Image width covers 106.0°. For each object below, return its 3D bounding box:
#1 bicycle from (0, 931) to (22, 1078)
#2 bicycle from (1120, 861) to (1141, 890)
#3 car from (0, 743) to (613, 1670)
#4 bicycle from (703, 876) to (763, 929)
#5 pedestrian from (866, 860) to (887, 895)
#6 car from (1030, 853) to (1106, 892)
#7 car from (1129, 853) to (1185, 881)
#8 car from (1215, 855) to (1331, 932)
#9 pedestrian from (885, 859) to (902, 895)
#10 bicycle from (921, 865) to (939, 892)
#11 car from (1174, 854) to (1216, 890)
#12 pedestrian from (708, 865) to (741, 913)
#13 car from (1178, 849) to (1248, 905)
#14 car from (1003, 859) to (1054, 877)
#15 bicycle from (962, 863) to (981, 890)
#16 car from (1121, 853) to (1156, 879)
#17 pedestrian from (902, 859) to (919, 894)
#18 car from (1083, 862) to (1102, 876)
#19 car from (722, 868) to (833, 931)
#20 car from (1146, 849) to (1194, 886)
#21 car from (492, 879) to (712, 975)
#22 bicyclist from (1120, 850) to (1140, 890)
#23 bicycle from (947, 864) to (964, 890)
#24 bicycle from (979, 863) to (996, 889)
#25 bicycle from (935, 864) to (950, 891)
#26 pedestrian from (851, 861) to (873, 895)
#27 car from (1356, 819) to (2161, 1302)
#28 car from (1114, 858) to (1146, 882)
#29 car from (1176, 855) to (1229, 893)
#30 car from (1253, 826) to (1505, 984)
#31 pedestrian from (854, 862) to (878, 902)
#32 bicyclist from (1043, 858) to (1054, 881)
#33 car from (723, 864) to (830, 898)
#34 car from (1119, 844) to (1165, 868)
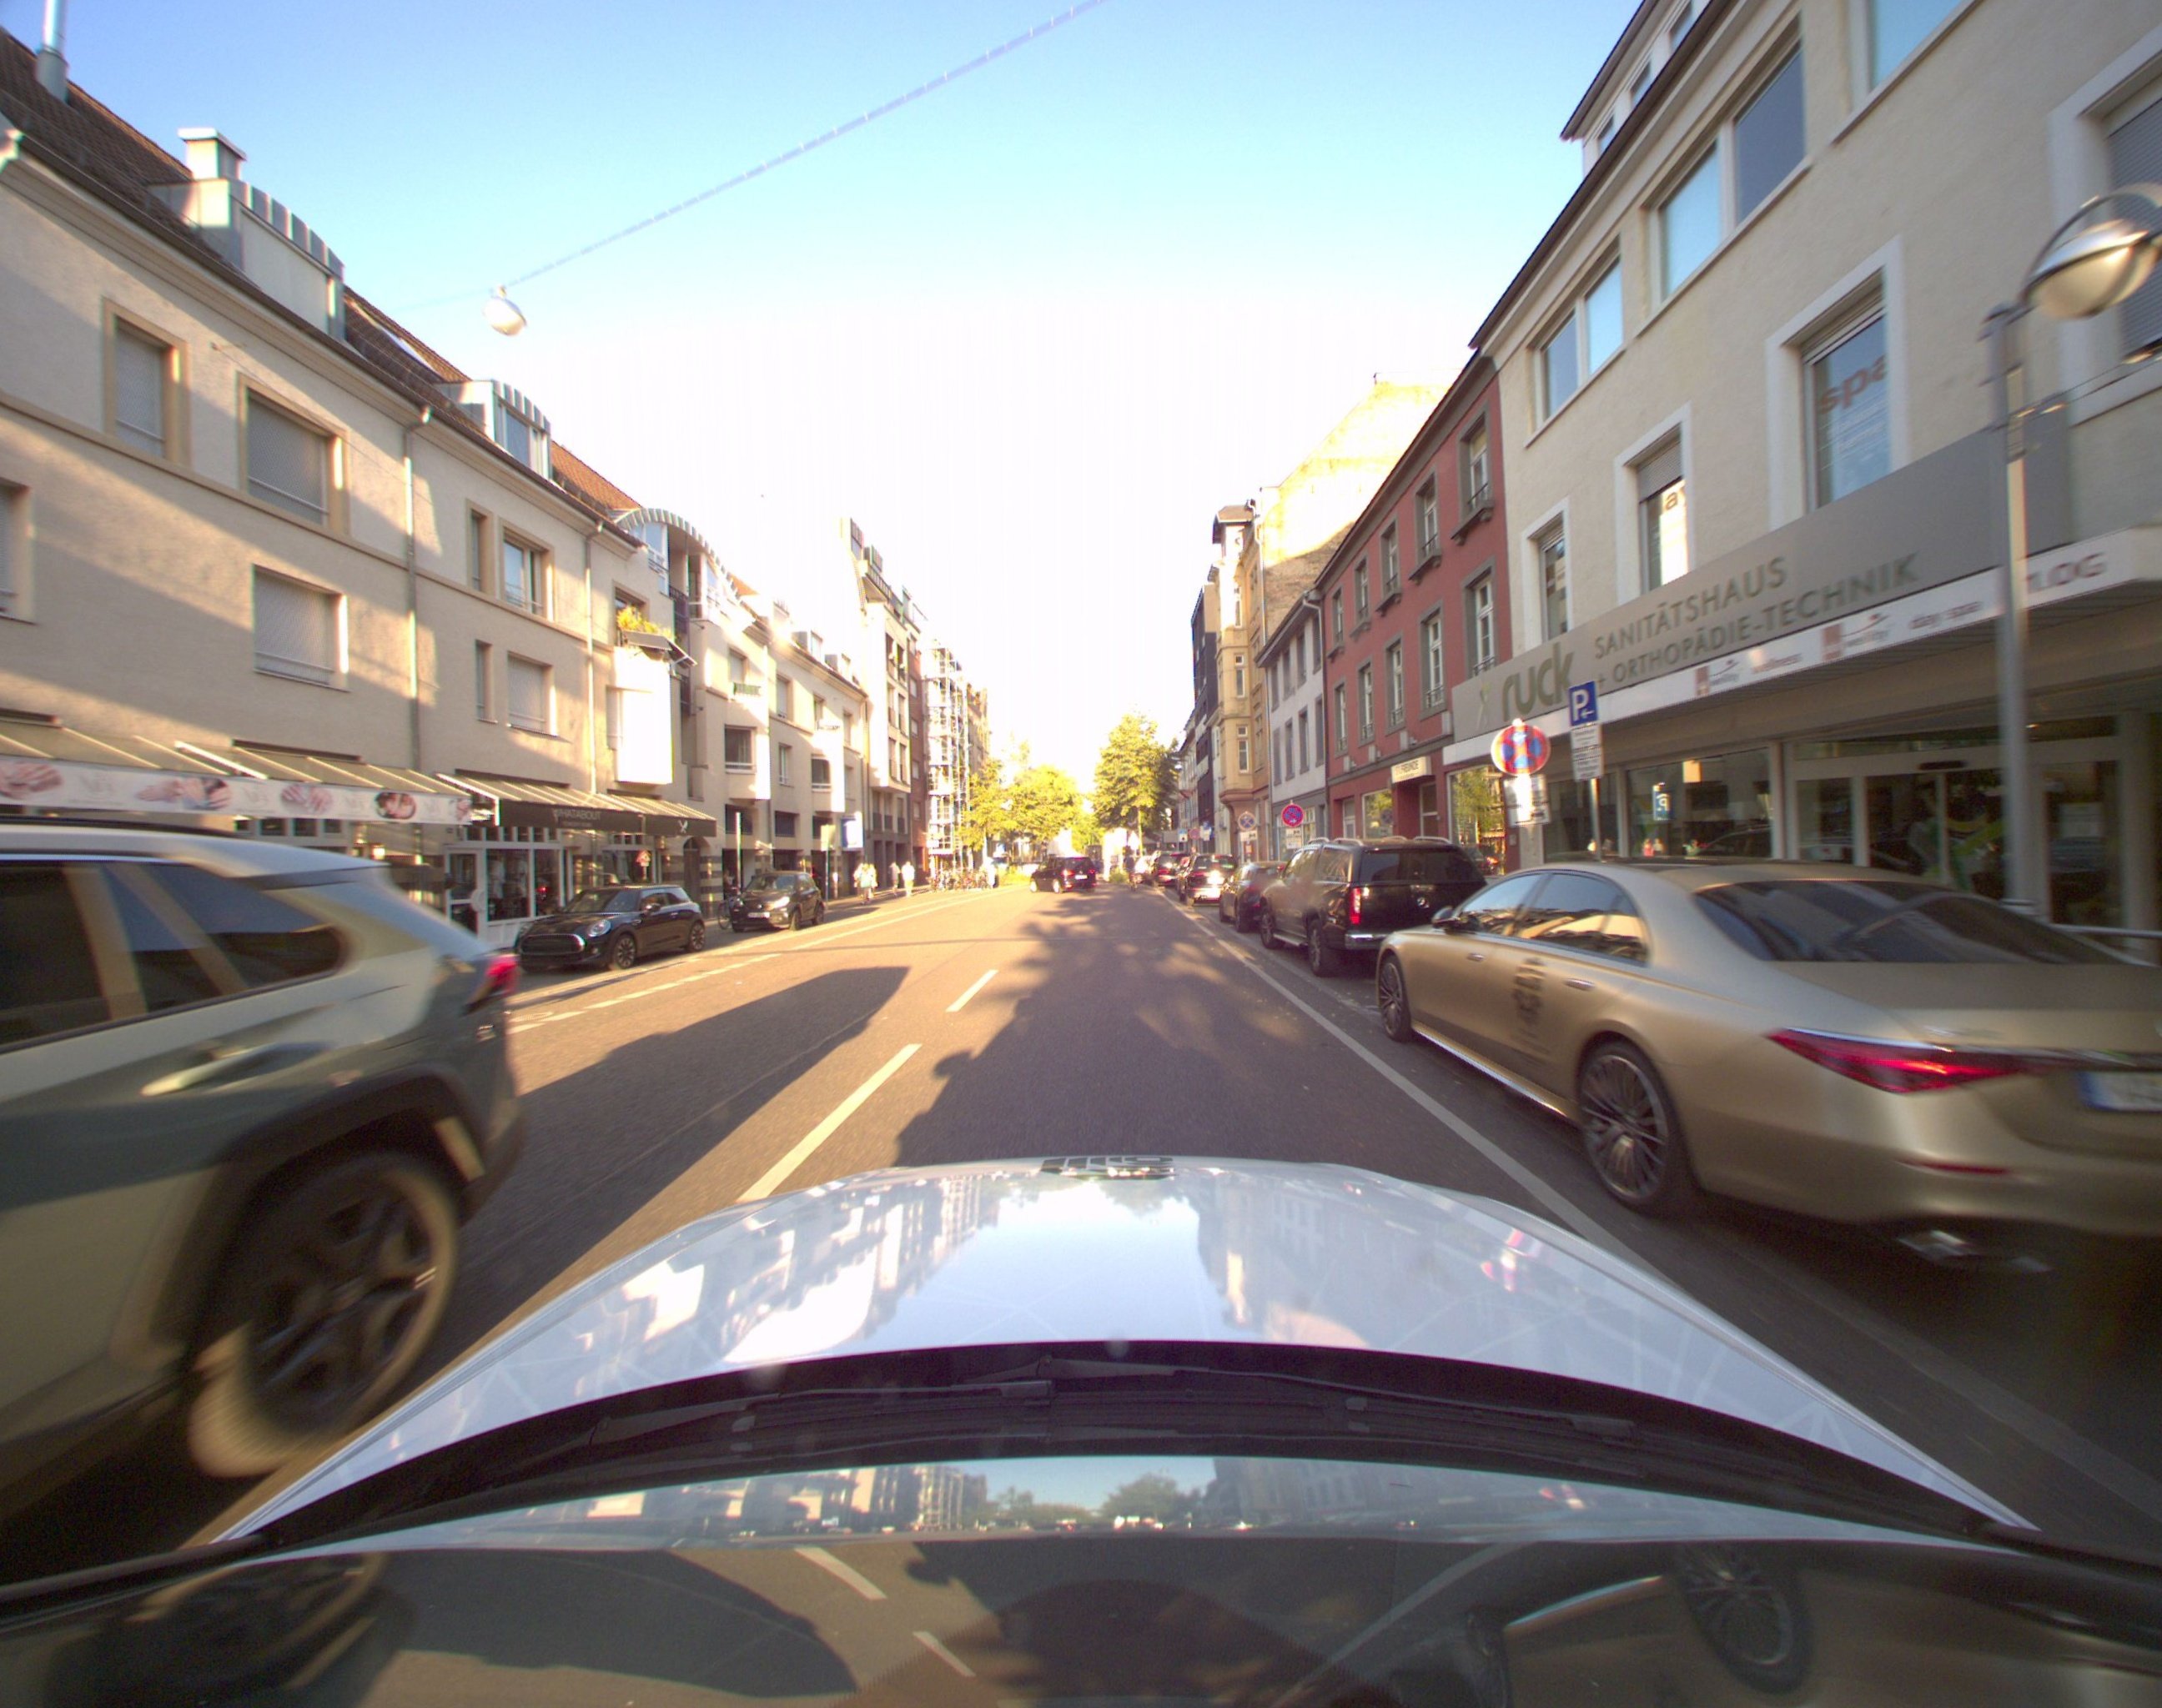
[{"bbox_3d":[-10.179,1.344,5.871,0.955,1.300,3.127,-1,-1,0],"label":"bicycle"},{"bbox_3d":[2.191,0.930,36.239,0.778,1.204,2.020,-3,-1,0],"label":"bicycle"},{"bbox_3d":[-2.916,0.657,0.922,1.934,1.645,4.738,-3,-1,0],"label":"car"},{"bbox_3d":[-9.709,1.320,22.824,0.608,1.375,2.359,-1,-1,2],"label":"bicycle"},{"bbox_3d":[-9.692,1.126,38.676,0.713,1.641,0.857,-1,-1,6],"label":"pedestrian"},{"bbox_3d":[-0.665,0.797,36.184,2.000,1.601,4.478,0,-1,-20],"label":"car"},{"bbox_3d":[4.235,0.729,45.727,2.961,1.536,1.432,-1,-1,-2],"label":"car"},{"bbox_3d":[4.095,0.791,18.062,1.755,1.483,4.310,-1,-1,3],"label":"car"},{"bbox_3d":[-9.174,1.115,39.936,0.716,1.767,0.693,0,-1,-6],"label":"pedestrian"},{"bbox_3d":[-8.225,1.322,44.469,0.720,1.395,3.146,0,-1,-6],"label":"bicycle"},{"bbox_3d":[4.924,0.782,35.484,1.580,1.483,3.270,-1,-1,4],"label":"car"},{"bbox_3d":[-12.409,1.204,28.370,0.713,1.616,0.856,-1,-1,4],"label":"pedestrian"},{"bbox_3d":[4.204,0.715,26.570,1.804,1.668,4.208,-1,-1,3],"label":"car"},{"bbox_3d":[-4.412,1.222,69.316,4.085,1.466,1.891,-1,-1,3],"label":"car"},{"bbox_3d":[-6.008,1.231,44.770,0.892,1.395,3.159,-1,-1,-6],"label":"bicycle"},{"bbox_3d":[3.790,0.814,54.693,1.987,1.668,4.507,-1,-1,-1],"label":"car"},{"bbox_3d":[-8.444,1.119,40.377,0.716,1.740,0.737,0,-1,-6],"label":"pedestrian"},{"bbox_3d":[1.291,1.632,87.873,1.830,1.441,4.335,0,-1,3],"label":"car"},{"bbox_3d":[-8.076,1.179,21.976,1.786,1.535,3.188,-2,-1,-1],"label":"car"},{"bbox_3d":[4.317,0.659,40.158,1.819,1.695,4.367,-1,-1,-1],"label":"car"},{"bbox_3d":[-8.531,1.227,14.930,1.704,1.454,3.727,-1,-1,2],"label":"car"},{"bbox_3d":[2.163,0.700,36.086,0.778,1.696,1.007,-3,-1,0],"label":"bicyclist"},{"bbox_3d":[-6.859,1.254,44.656,0.780,1.373,3.135,0,-1,-6],"label":"bicycle"},{"bbox_3d":[-5.117,1.180,44.880,0.843,1.351,3.180,-2,-1,-6],"label":"bicycle"},{"bbox_3d":[-7.554,1.275,44.557,0.584,1.395,3.154,0,-1,-6],"label":"bicycle"},{"bbox_3d":[-10.420,1.136,38.794,0.713,1.641,0.857,-1,-1,7],"label":"pedestrian"},{"bbox_3d":[3.306,0.682,5.095,1.804,1.527,4.999,-1,-1,4],"label":"car"},{"bbox_3d":[4.056,1.285,67.905,2.258,1.766,4.507,4,-1,-1],"label":"car"},{"bbox_3d":[4.632,0.761,31.541,1.660,1.378,3.805,-1,-1,3],"label":"car"},{"bbox_3d":[3.897,0.603,11.712,1.876,1.754,5.060,-1,-1,1],"label":"car"},{"bbox_3d":[-8.938,1.155,33.901,0.714,1.641,0.951,-1,-1,-1],"label":"pedestrian"},{"bbox_3d":[-2.626,1.259,65.948,0.778,1.829,1.007,-3,-1,0],"label":"bicyclist"},{"bbox_3d":[-15.033,1.301,40.348,4.473,1.602,2.003,-1,-1,5],"label":"car"},{"bbox_3d":[5.523,0.208,73.290,3.966,2.013,2.004,-2,0,6],"label":"car"}]
